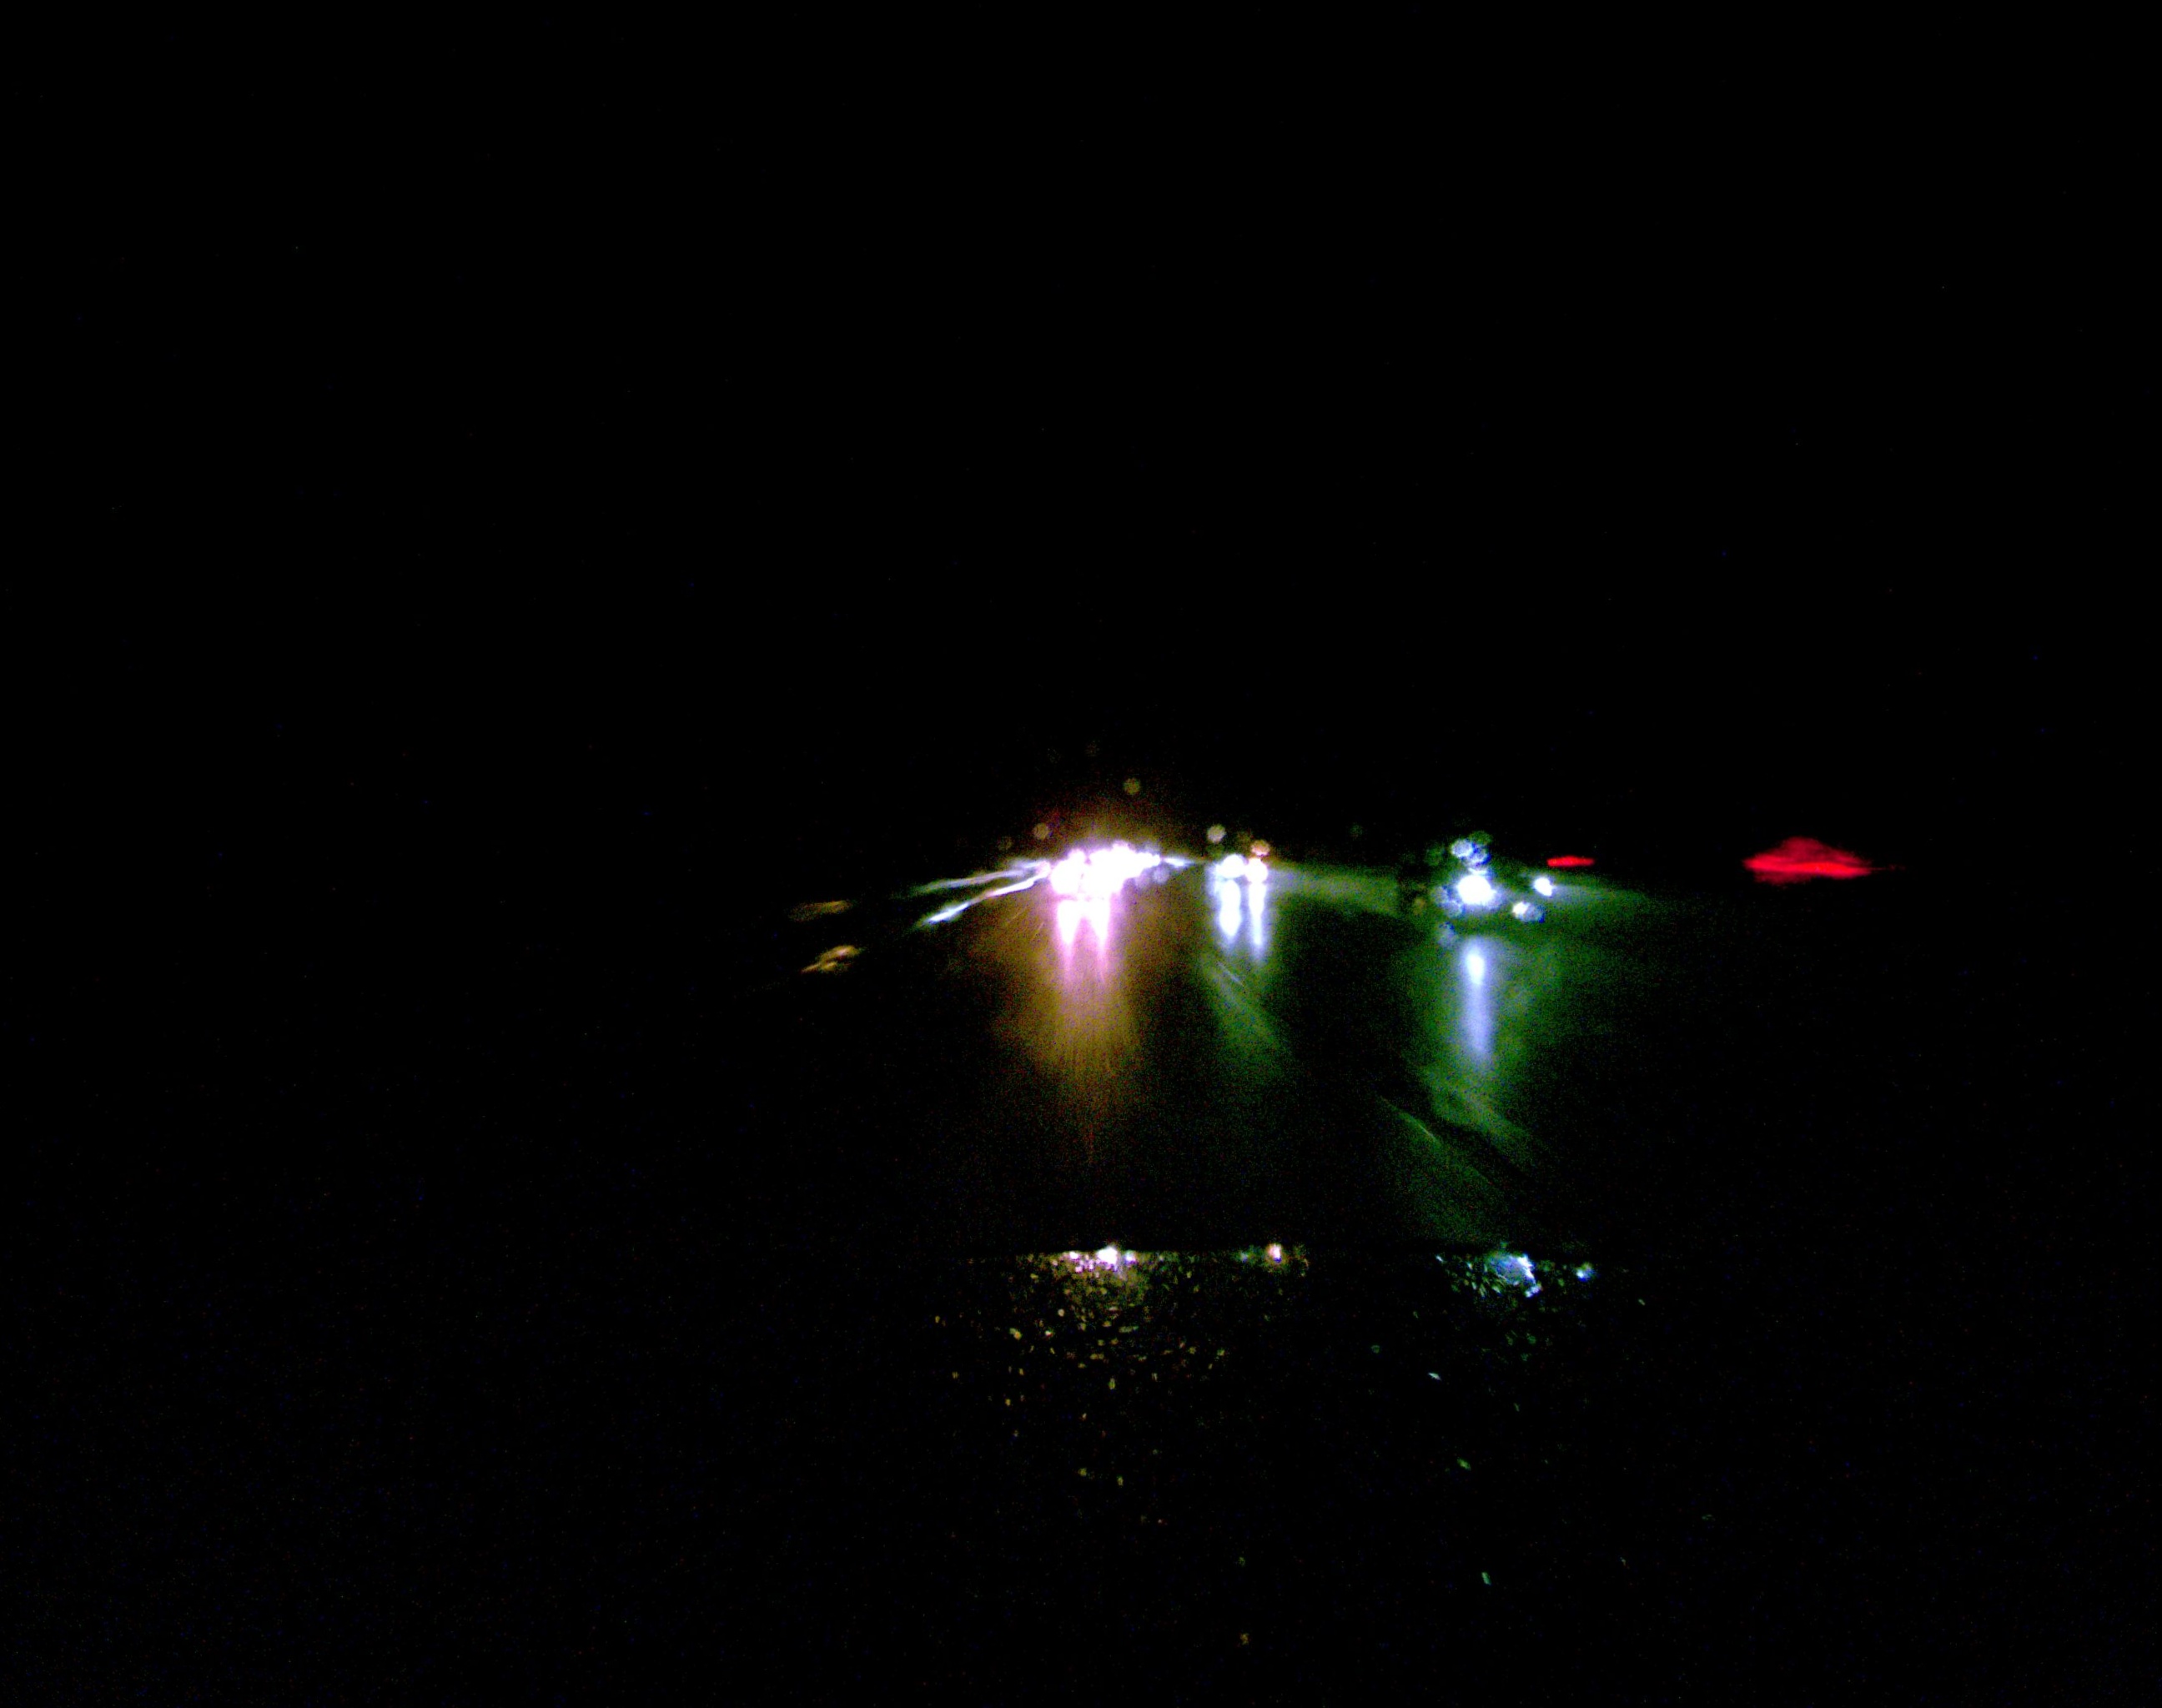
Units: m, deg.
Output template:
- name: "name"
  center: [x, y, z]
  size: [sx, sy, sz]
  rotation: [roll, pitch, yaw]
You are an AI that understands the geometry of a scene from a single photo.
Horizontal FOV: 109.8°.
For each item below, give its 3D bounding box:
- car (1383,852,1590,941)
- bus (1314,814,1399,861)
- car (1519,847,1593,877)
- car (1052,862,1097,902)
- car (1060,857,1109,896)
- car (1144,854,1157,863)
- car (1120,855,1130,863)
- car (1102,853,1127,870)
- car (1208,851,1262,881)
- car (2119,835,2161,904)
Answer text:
- name: "car"
  center: [7.823, 0.731, 15.169]
  size: [1.998, 1.433, 3.999]
  rotation: [-2, 1, 1]
- name: "bus"
  center: [29.227, -1.735, 81.959]
  size: [3.379, 4.423, 16.541]
  rotation: [-2, 1, 1]
- name: "car"
  center: [29.088, 0.455, 46.668]
  size: [1.884, 1.712, 4.263]
  rotation: [-2, 1, 1]
- name: "car"
  center: [-0.195, 0.987, 28.088]
  size: [1.526, 1.256, 3.368]
  rotation: [-2, 1, 1]
- name: "car"
  center: [0.175, 0.986, 33.212]
  size: [1.998, 1.542, 4.001]
  rotation: [-2, -1, 1]
- name: "car"
  center: [13.016, 0.797, 142.034]
  size: [1.998, 1.551, 4.587]
  rotation: [-2, 1, 1]
- name: "car"
  center: [9.864, 1.079, 169.991]
  size: [1.998, 1.551, 4.587]
  rotation: [-2, 1, 1]
- name: "car"
  center: [3.127, 0.674, 71.591]
  size: [1.999, 1.468, 4.840]
  rotation: [-2, 1, 0]
- name: "car"
  center: [8.472, 0.602, 42.291]
  size: [1.998, 1.468, 5.164]
  rotation: [-2, 1, 1]
- name: "car"
  center: [28.227, 0.399, 17.672]
  size: [1.885, 1.712, 4.561]
  rotation: [-2, 1, -2]
